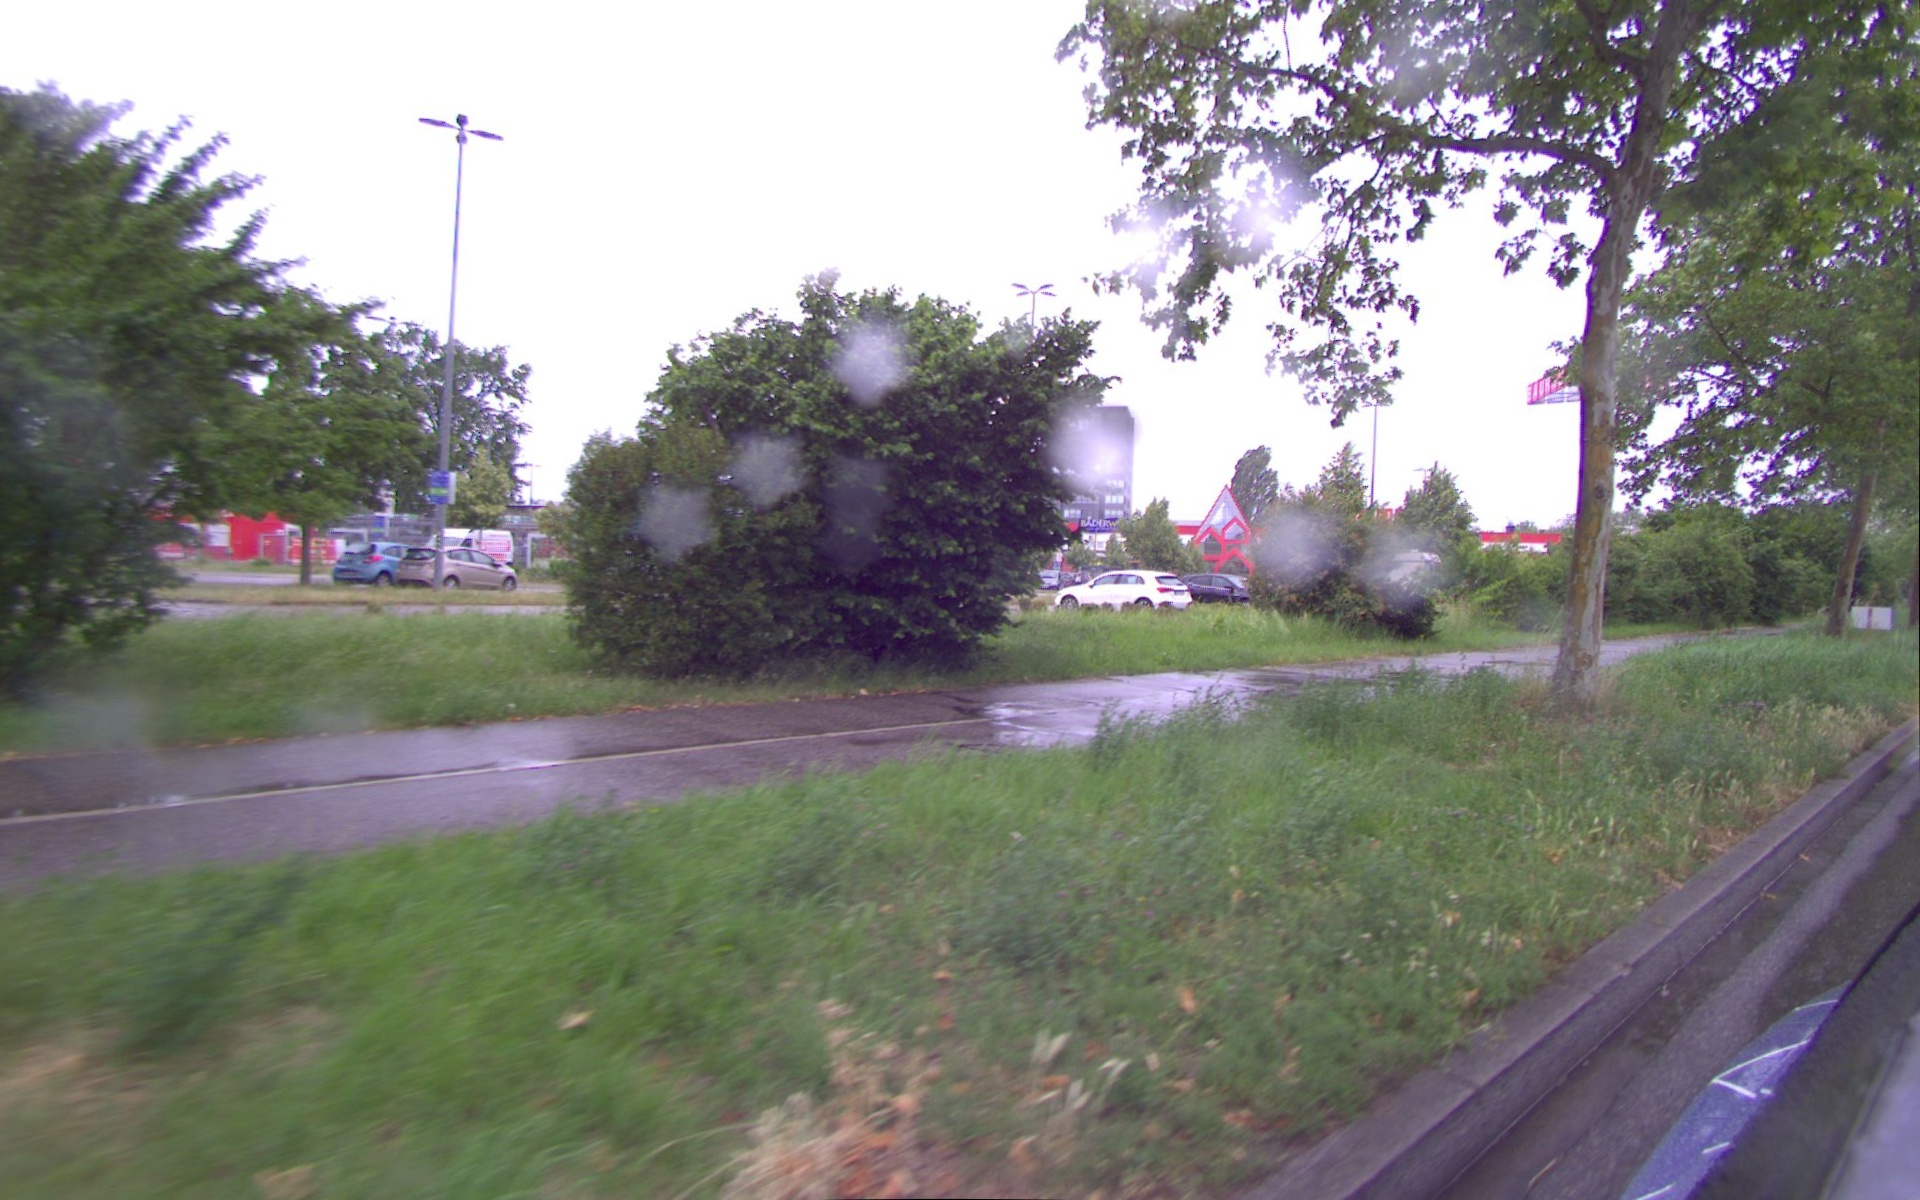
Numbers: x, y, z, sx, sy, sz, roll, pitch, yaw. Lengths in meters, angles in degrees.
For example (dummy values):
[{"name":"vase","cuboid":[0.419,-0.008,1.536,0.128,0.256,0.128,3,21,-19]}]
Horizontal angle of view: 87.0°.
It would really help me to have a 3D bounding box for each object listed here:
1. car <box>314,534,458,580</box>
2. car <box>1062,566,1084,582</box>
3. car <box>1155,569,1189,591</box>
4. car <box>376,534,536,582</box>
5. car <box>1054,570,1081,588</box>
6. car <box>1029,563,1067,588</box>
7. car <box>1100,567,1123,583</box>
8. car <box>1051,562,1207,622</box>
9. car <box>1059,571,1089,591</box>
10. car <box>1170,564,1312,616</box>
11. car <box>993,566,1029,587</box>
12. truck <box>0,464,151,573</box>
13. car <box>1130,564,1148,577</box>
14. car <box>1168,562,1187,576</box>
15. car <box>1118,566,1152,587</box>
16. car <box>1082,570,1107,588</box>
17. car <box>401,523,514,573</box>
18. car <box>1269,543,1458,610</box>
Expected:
[{"name":"car","cuboid":[-17.848,-1.338,31.705,1.838,1.308,4.041,2,2,8]},{"name":"car","cuboid":[12.935,-2.998,116.021,1.973,1.697,4.258,2,2,13]},{"name":"car","cuboid":[16.014,-1.550,76.218,1.906,1.571,4.247,2,2,20]},{"name":"car","cuboid":[-14.892,-1.239,30.138,1.850,1.308,4.015,3,3,25]},{"name":"car","cuboid":[10.514,-2.051,98.841,1.973,1.697,4.256,2,2,14]},{"name":"car","cuboid":[6.151,-1.719,70.056,1.902,1.571,4.254,2,2,15]},{"name":"car","cuboid":[18.141,-2.983,121.029,1.907,1.900,4.245,2,2,21]},{"name":"car","cuboid":[4.956,-0.292,30.044,4.262,1.571,1.899,3,3,45]},{"name":"car","cuboid":[9.616,-1.603,85.287,1.902,1.571,4.254,2,2,15]},{"name":"car","cuboid":[9.468,-0.379,34.290,4.262,1.571,1.899,3,3,45]},{"name":"car","cuboid":[4.200,-1.939,82.645,1.904,1.571,4.250,2,2,18]},{"name":"truck","cuboid":[-32.631,-2.835,35.325,7.898,3.513,2.542,2,1,14]},{"name":"car","cuboid":[27.564,-4.562,155.640,1.907,1.900,4.245,2,2,21]},{"name":"car","cuboid":[28.945,-4.143,134.758,1.906,1.747,4.247,2,2,20]},{"name":"car","cuboid":[13.740,-1.891,79.485,1.906,1.571,4.247,2,2,20]},{"name":"car","cuboid":[13.835,-2.145,103.692,1.974,1.697,4.254,2,2,15]},{"name":"car","cuboid":[-25.344,-2.604,51.299,2.294,2.390,5.500,2,2,11]},{"name":"car","cuboid":[15.594,-0.990,39.415,6.398,2.391,2.357,3,3,41]}]
